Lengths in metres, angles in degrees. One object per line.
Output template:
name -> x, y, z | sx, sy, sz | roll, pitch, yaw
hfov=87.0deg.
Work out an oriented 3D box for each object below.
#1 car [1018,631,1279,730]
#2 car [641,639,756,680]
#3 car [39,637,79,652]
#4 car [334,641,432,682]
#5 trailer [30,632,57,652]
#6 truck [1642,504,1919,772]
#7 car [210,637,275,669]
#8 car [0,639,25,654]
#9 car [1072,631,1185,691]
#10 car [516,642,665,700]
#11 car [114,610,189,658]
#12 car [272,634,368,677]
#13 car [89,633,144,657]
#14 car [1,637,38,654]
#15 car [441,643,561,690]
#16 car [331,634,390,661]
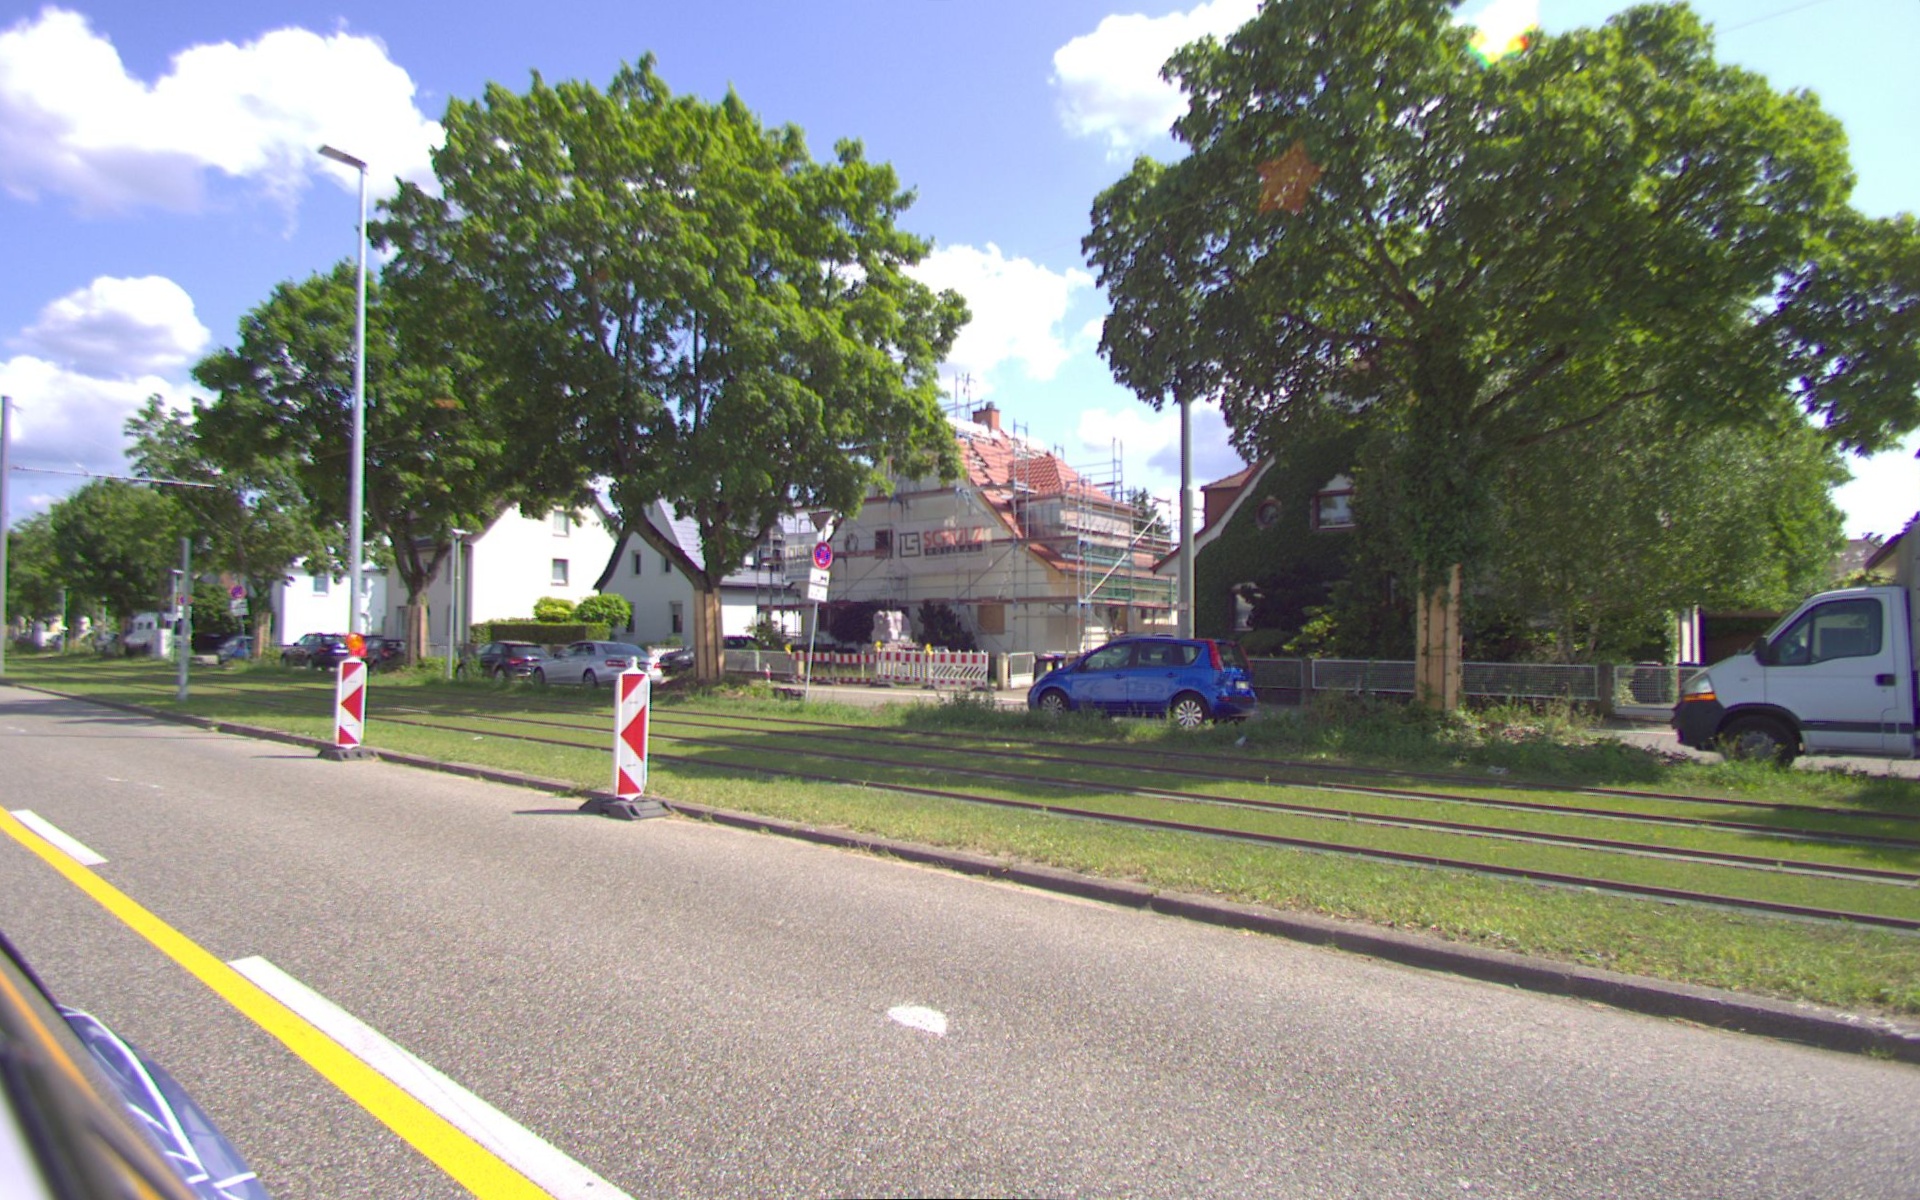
car -> 3.203, 1.312, 17.475 | 3.995, 1.464, 1.974 | -1, -3, 38
car -> -10.182, 2.279, 39.614 | 1.980, 1.412, 3.947 | -1, -1, 40
car -> -70.370, 3.466, 79.064 | 3.833, 1.101, 1.763 | -1, -3, 40
car -> -22.405, 2.367, 39.251 | 3.996, 1.450, 1.973 | -1, -4, 40
trailer -> -74.631, 3.410, 82.408 | 2.280, 1.530, 1.286 | -1, -4, 40
truck -> 11.174, 0.445, 10.794 | 6.270, 2.789, 1.973 | -2, -6, 40
car -> -34.886, 2.548, 49.176 | 3.888, 1.447, 1.735 | -1, -3, 42
car -> -99.383, 4.842, 105.823 | 4.322, 1.551, 1.972 | -1, -3, 43
car -> 5.197, 1.845, 30.973 | 1.871, 1.697, 3.611 | -1, -3, 39
car -> -10.659, 1.981, 29.040 | 4.936, 1.494, 1.786 | -1, -3, 40
car -> -48.444, 2.068, 60.606 | 6.453, 2.751, 1.974 | -2, -4, 38
car -> -27.174, 2.329, 42.917 | 4.384, 1.704, 1.975 | -1, -3, 37
car -> -55.552, 2.969, 66.618 | 4.483, 1.517, 1.973 | -1, -3, 40
car -> -86.196, 4.164, 92.723 | 4.319, 1.551, 1.973 | -1, -3, 41
car -> -14.739, 2.125, 32.432 | 3.849, 1.328, 1.973 | -1, -5, 40
car -> -36.702, 2.880, 61.906 | 3.997, 1.589, 1.883 | -1, -3, 40
